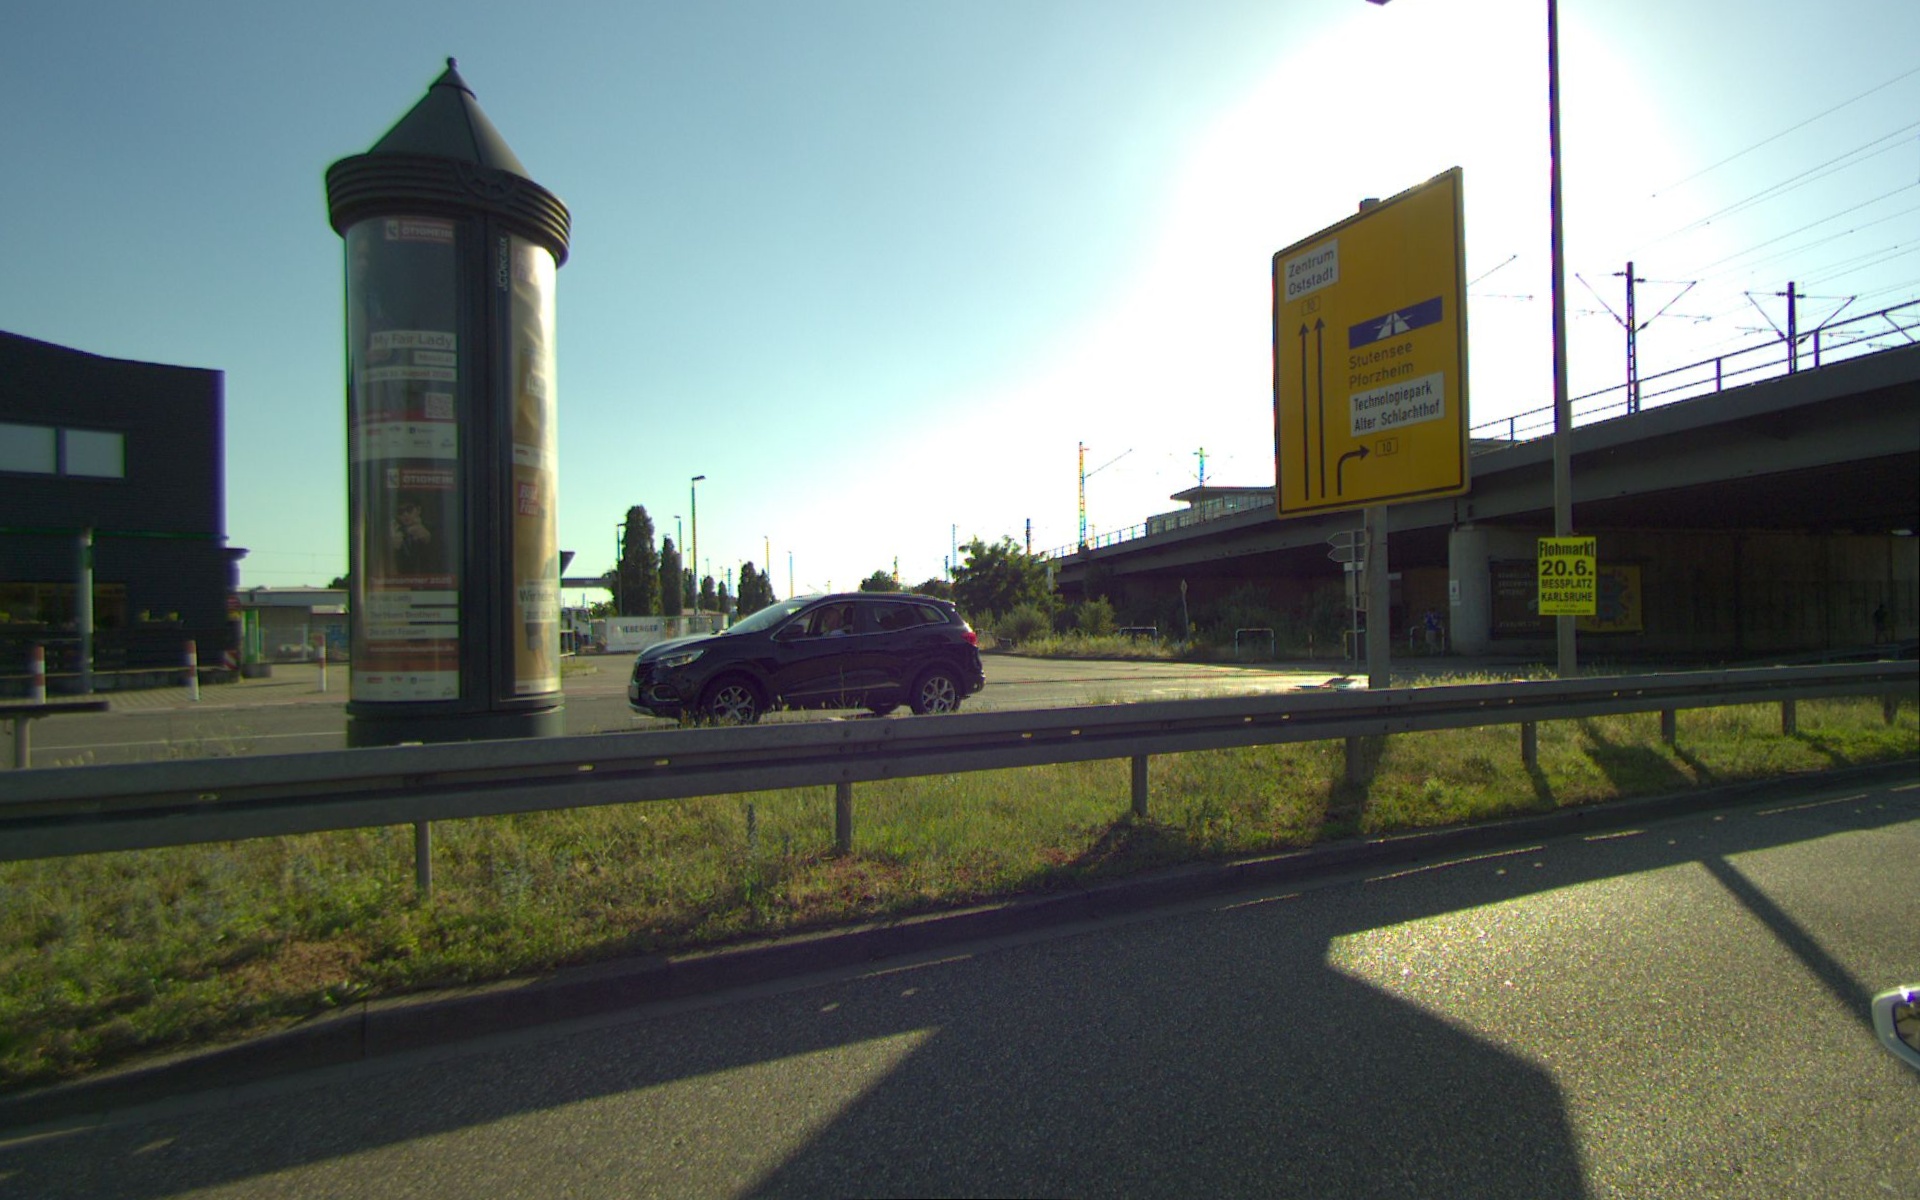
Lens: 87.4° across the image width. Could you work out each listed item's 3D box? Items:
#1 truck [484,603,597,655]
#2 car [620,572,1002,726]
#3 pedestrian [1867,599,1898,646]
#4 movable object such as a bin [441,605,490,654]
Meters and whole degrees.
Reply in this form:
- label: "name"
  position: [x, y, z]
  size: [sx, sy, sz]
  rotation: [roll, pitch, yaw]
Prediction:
- label: "truck"
  position: [-27.407, 1.893, 65.936]
  size: [2.396, 3.186, 6.764]
  rotation: [0, -1, 31]
- label: "car"
  position: [-1.807, 0.624, 12.494]
  size: [4.343, 1.624, 1.838]
  rotation: [1, -5, -30]
- label: "pedestrian"
  position: [38.688, 0.934, 42.130]
  size: [0.654, 1.929, 0.693]
  rotation: [0, -1, -18]
- label: "movable object such as a bin"
  position: [-28.347, 1.669, 57.592]
  size: [2.199, 2.751, 1.721]
  rotation: [1, -1, -37]
